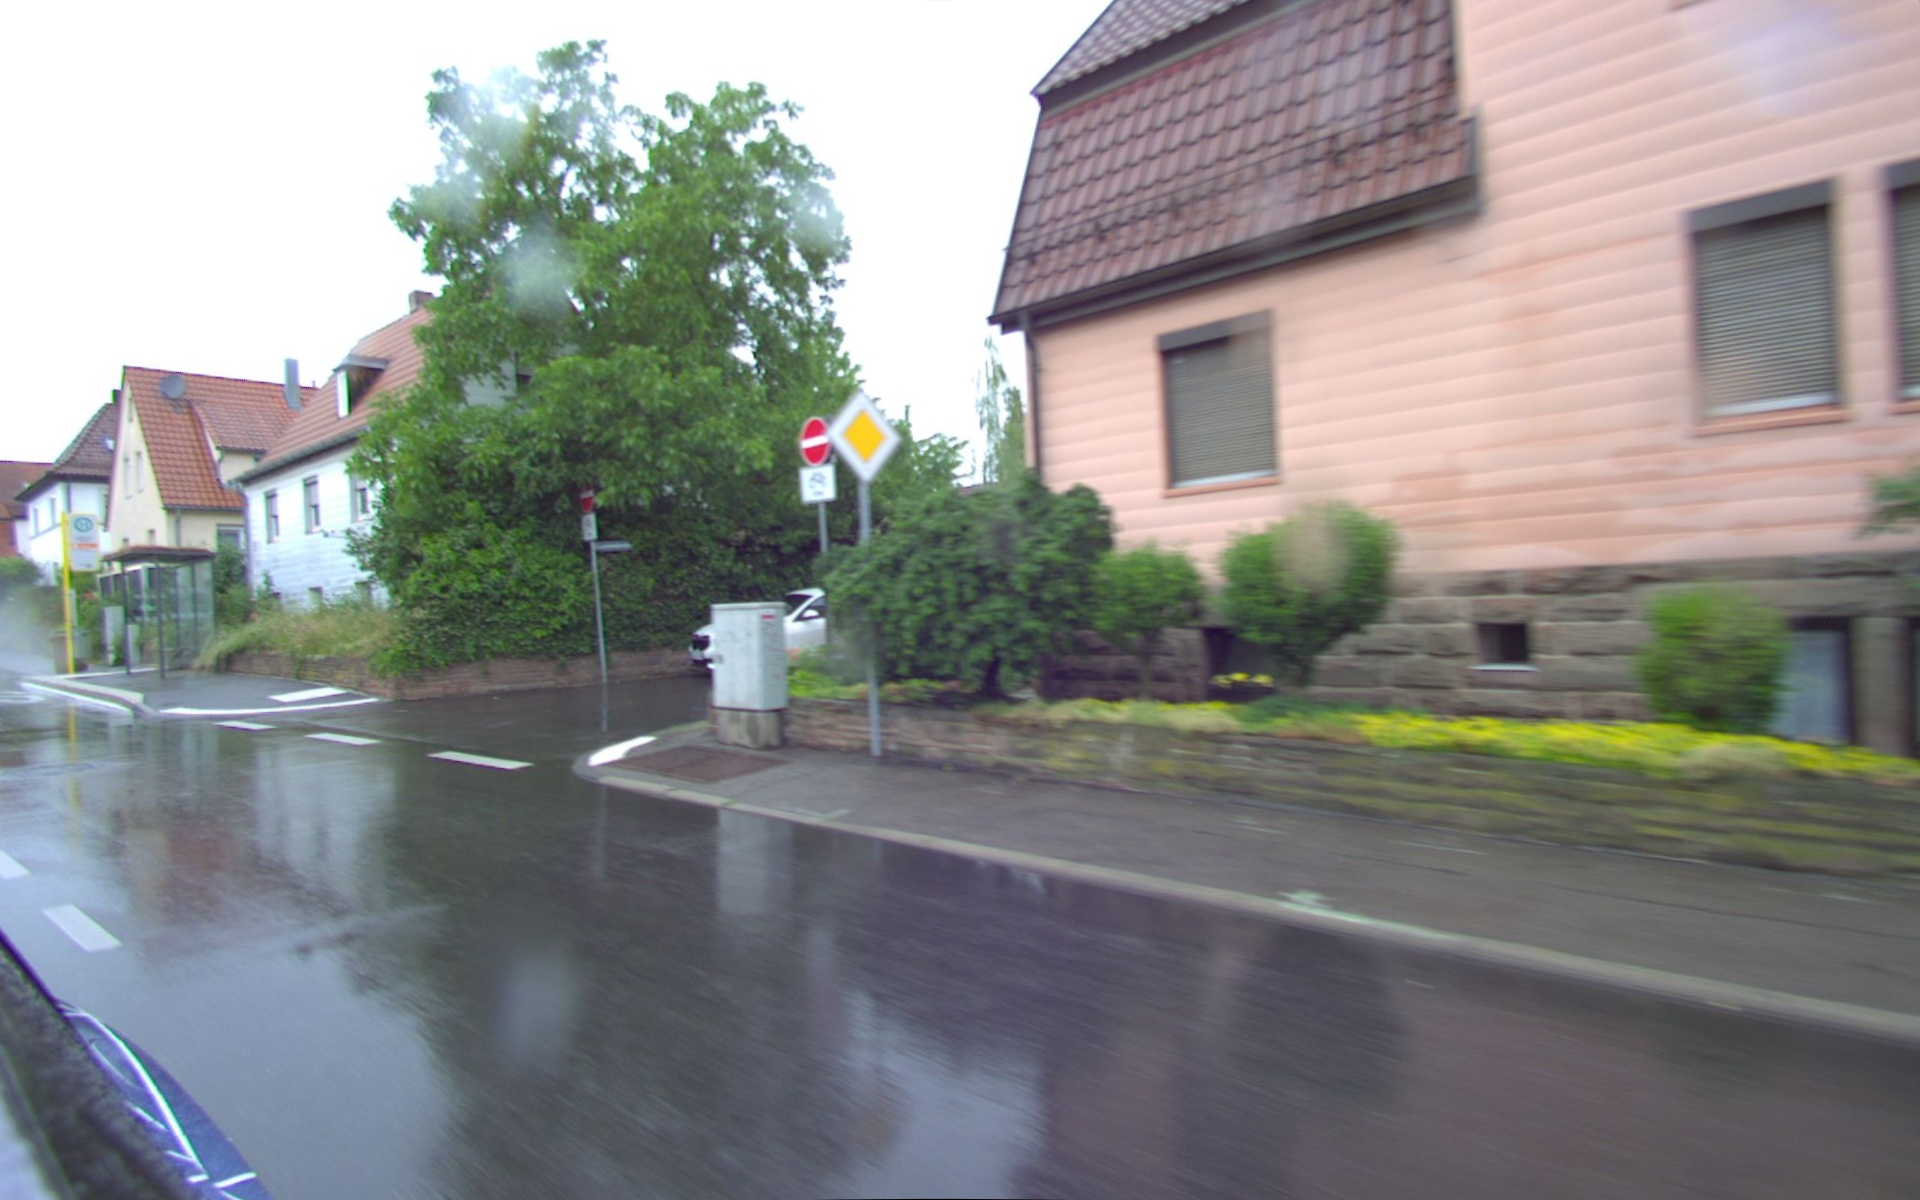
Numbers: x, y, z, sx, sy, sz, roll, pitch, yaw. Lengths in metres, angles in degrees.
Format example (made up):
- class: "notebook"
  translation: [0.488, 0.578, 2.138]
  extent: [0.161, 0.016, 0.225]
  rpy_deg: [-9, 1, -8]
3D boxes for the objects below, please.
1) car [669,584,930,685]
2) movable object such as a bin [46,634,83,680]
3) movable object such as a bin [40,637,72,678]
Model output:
- class: "car"
  translation: [-2.758, 0.537, 17.864]
  extent: [4.172, 1.429, 1.721]
  rpy_deg: [-3, 1, -37]
- class: "movable object such as a bin"
  translation: [-22.331, 1.418, 25.238]
  extent: [0.527, 1.090, 0.547]
  rpy_deg: [-2, 3, 42]
- class: "movable object such as a bin"
  translation: [-21.986, 1.401, 24.607]
  extent: [0.454, 0.946, 0.463]
  rpy_deg: [-4, 2, 42]
